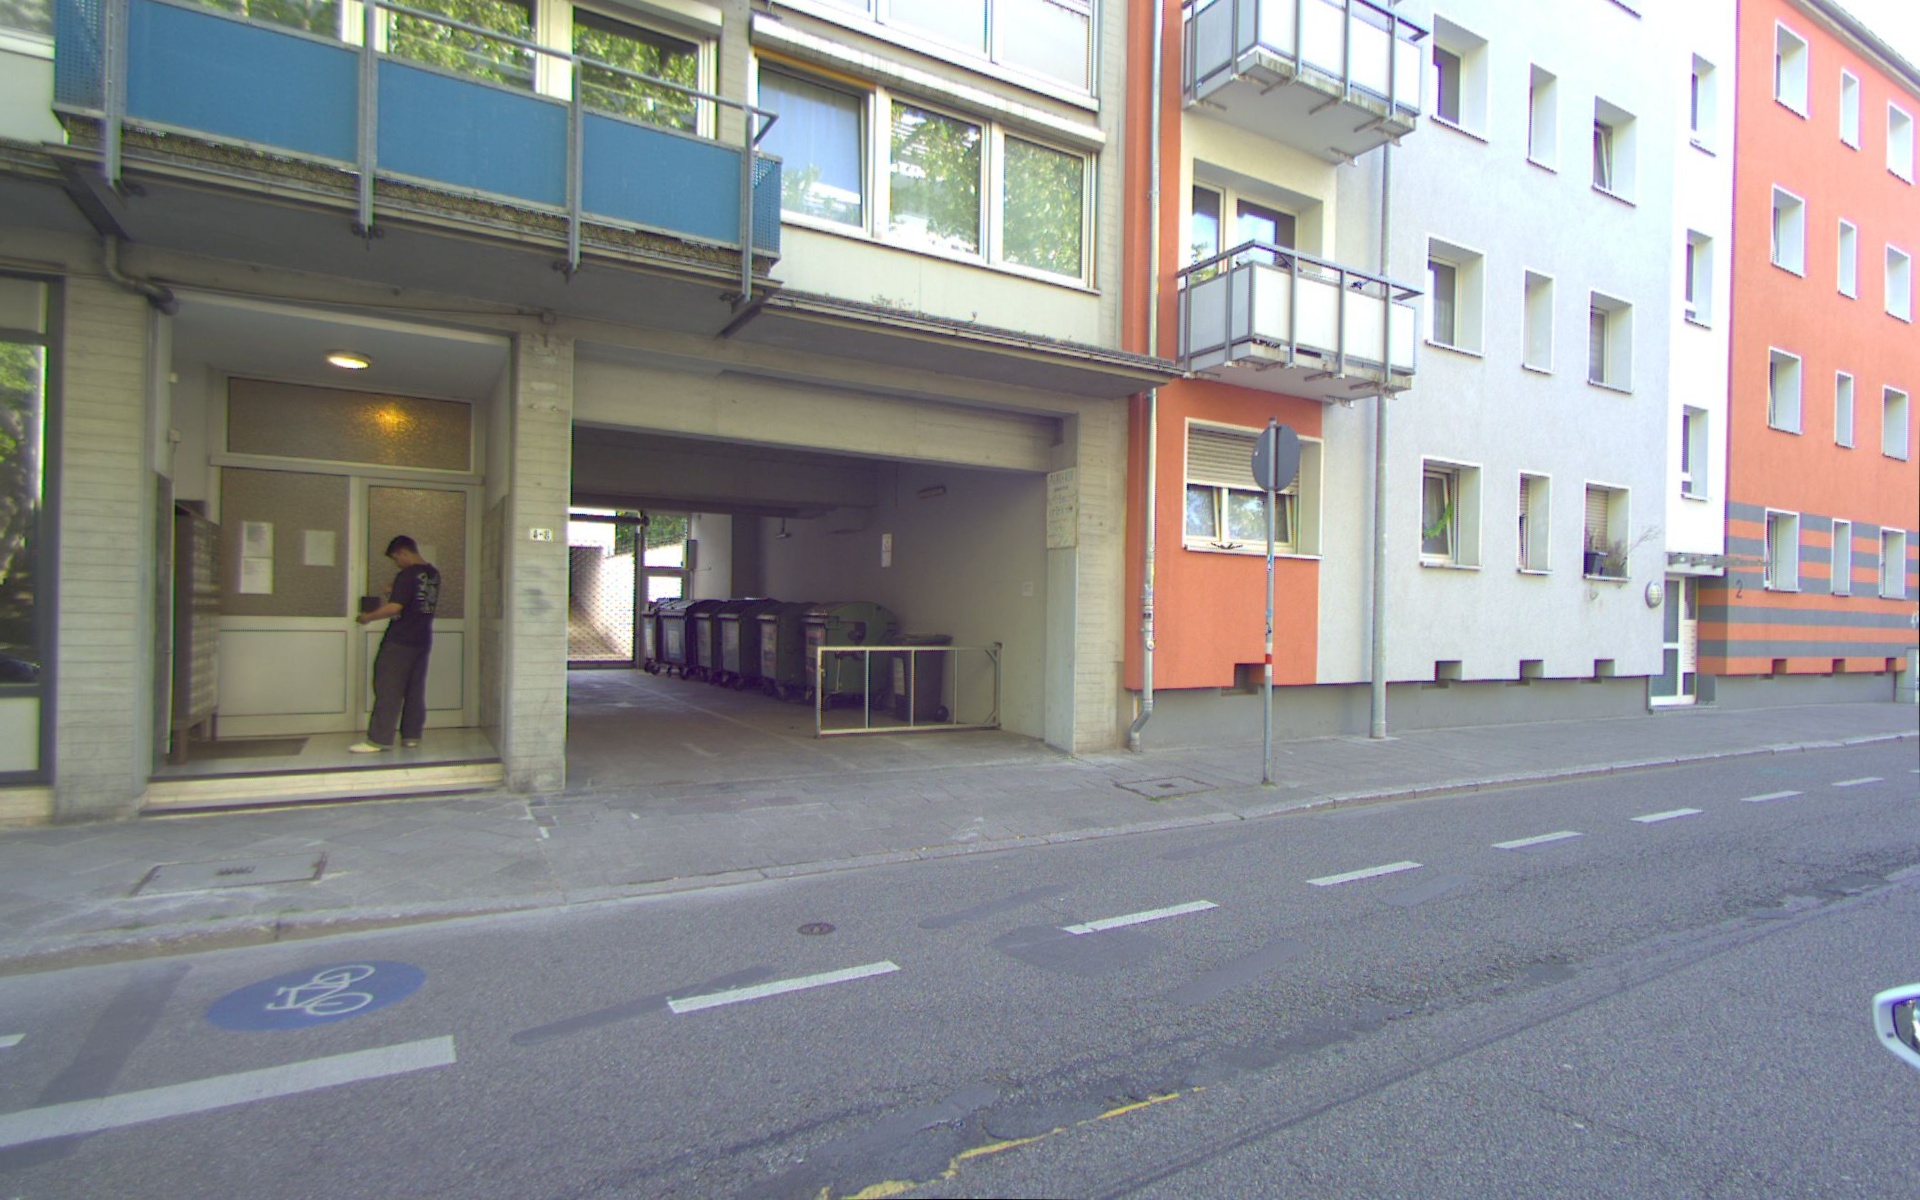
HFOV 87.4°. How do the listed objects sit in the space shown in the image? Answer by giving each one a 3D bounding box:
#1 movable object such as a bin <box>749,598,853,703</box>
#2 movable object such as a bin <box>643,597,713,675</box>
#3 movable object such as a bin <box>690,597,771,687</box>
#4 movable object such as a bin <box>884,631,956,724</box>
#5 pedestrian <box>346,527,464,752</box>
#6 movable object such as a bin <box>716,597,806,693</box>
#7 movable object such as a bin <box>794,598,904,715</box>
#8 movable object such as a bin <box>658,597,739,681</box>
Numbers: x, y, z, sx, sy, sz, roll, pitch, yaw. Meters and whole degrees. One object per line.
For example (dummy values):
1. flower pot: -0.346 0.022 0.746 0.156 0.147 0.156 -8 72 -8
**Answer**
1. movable object such as a bin: -2.415 0.730 15.149 1.167 1.503 1.252 1 0 -30
2. movable object such as a bin: -5.606 0.706 19.943 1.167 1.503 0.819 1 0 -30
3. movable object such as a bin: -4.038 0.721 17.638 1.080 1.503 1.159 1 0 -30
4. movable object such as a bin: -0.502 0.941 12.459 0.687 1.094 0.579 1 0 -30
5. pedestrian: -4.477 0.310 8.137 0.537 1.736 0.662 1 0 3
6. movable object such as a bin: -3.303 0.723 16.640 1.167 1.503 1.073 1 0 -30
7. movable object such as a bin: -1.535 0.740 13.776 1.086 1.503 1.251 1 0 -30
8. movable object such as a bin: -4.882 0.709 18.694 1.167 1.503 1.215 1 0 -30
